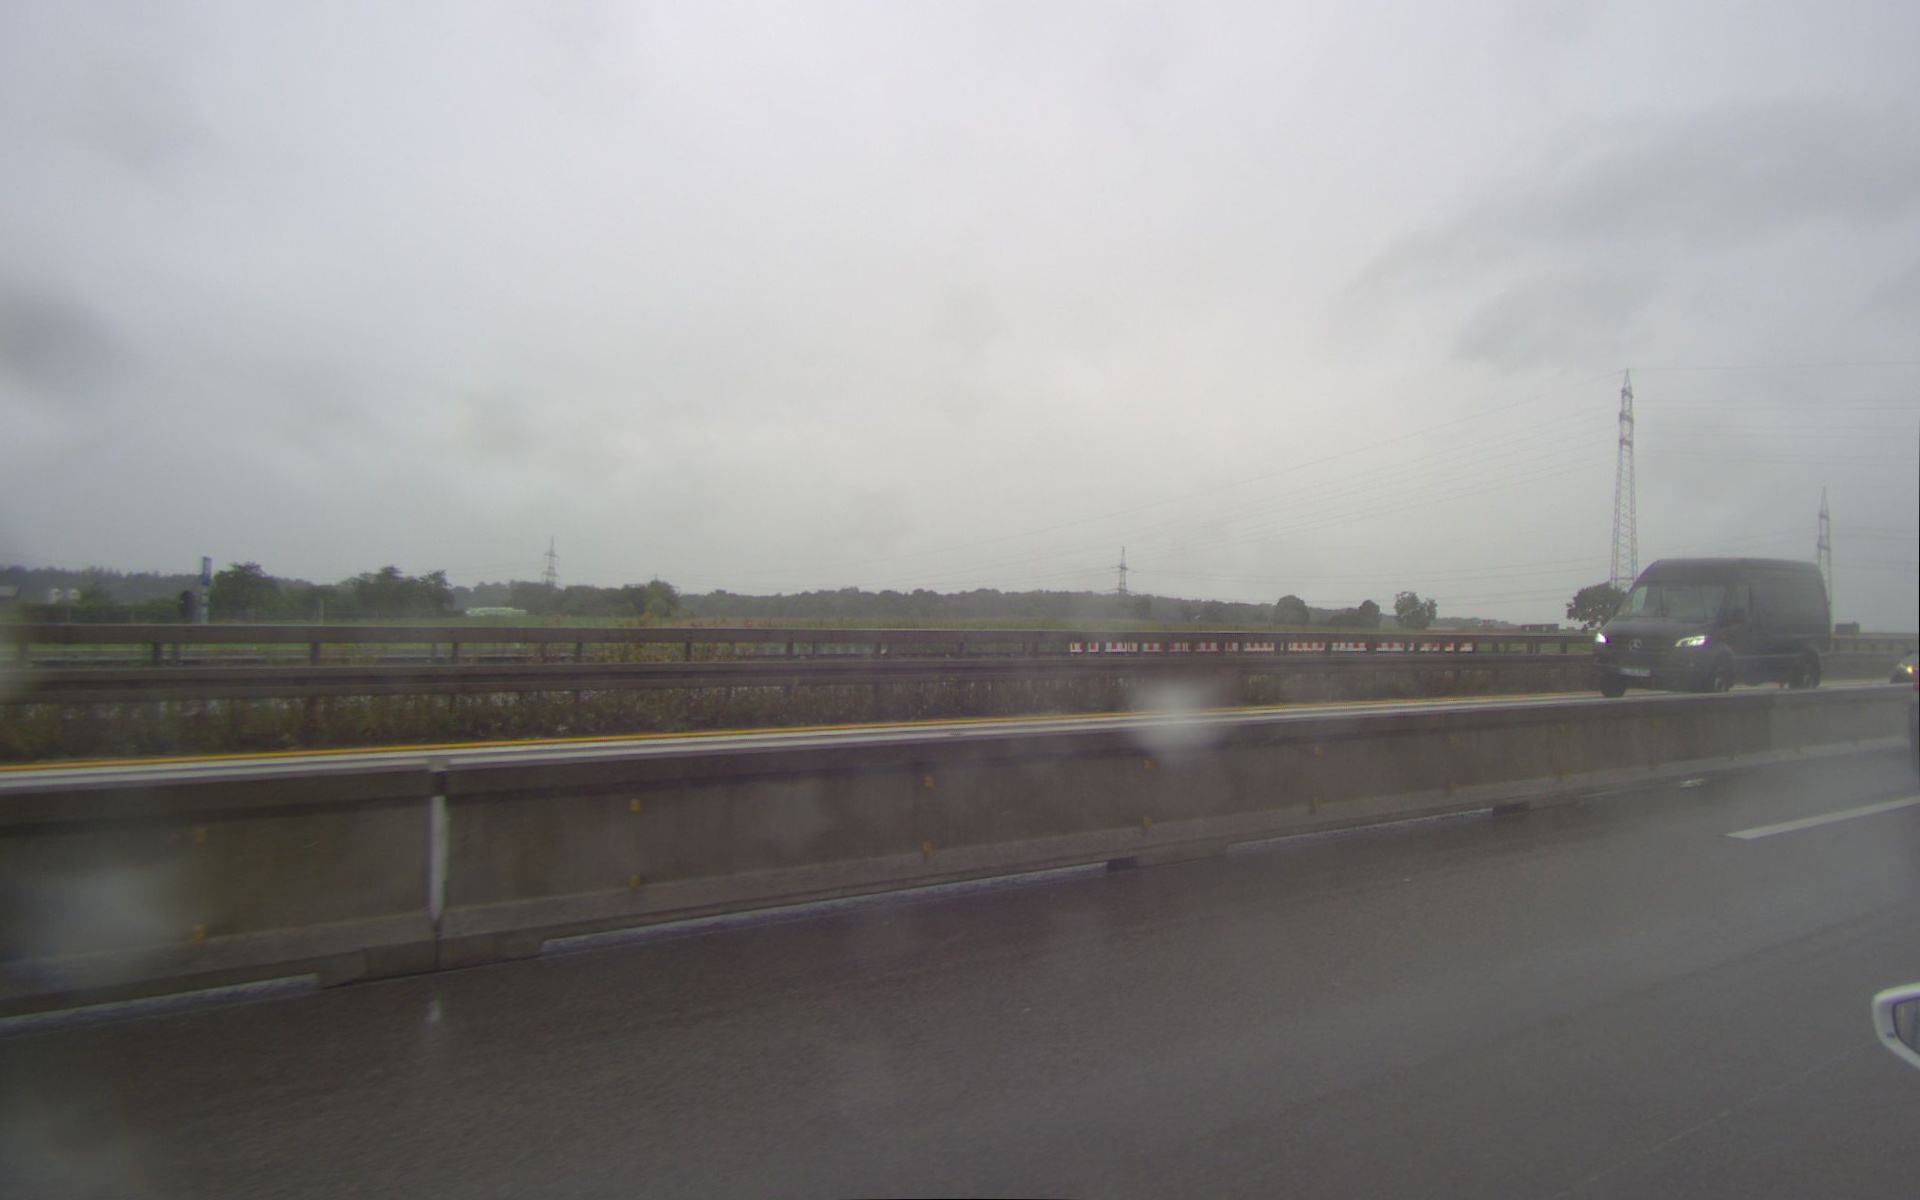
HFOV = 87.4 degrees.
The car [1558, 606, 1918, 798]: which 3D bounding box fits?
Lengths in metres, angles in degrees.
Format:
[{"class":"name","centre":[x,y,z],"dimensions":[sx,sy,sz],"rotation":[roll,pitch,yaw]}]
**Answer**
[{"class":"car","centre":[9.900,1.141,12.708],"dimensions":[4.744,2.029,1.984],"rotation":[1,-2,-30]}]

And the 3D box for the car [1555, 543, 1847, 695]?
[{"class":"car","centre":[14.280,0.413,19.273],"dimensions":[6.097,2.550,2.063],"rotation":[2,-2,-28]}]

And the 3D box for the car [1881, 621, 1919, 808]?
[{"class":"car","centre":[10.742,1.116,9.465],"dimensions":[4.789,1.619,1.692],"rotation":[3,-1,-30]}]
